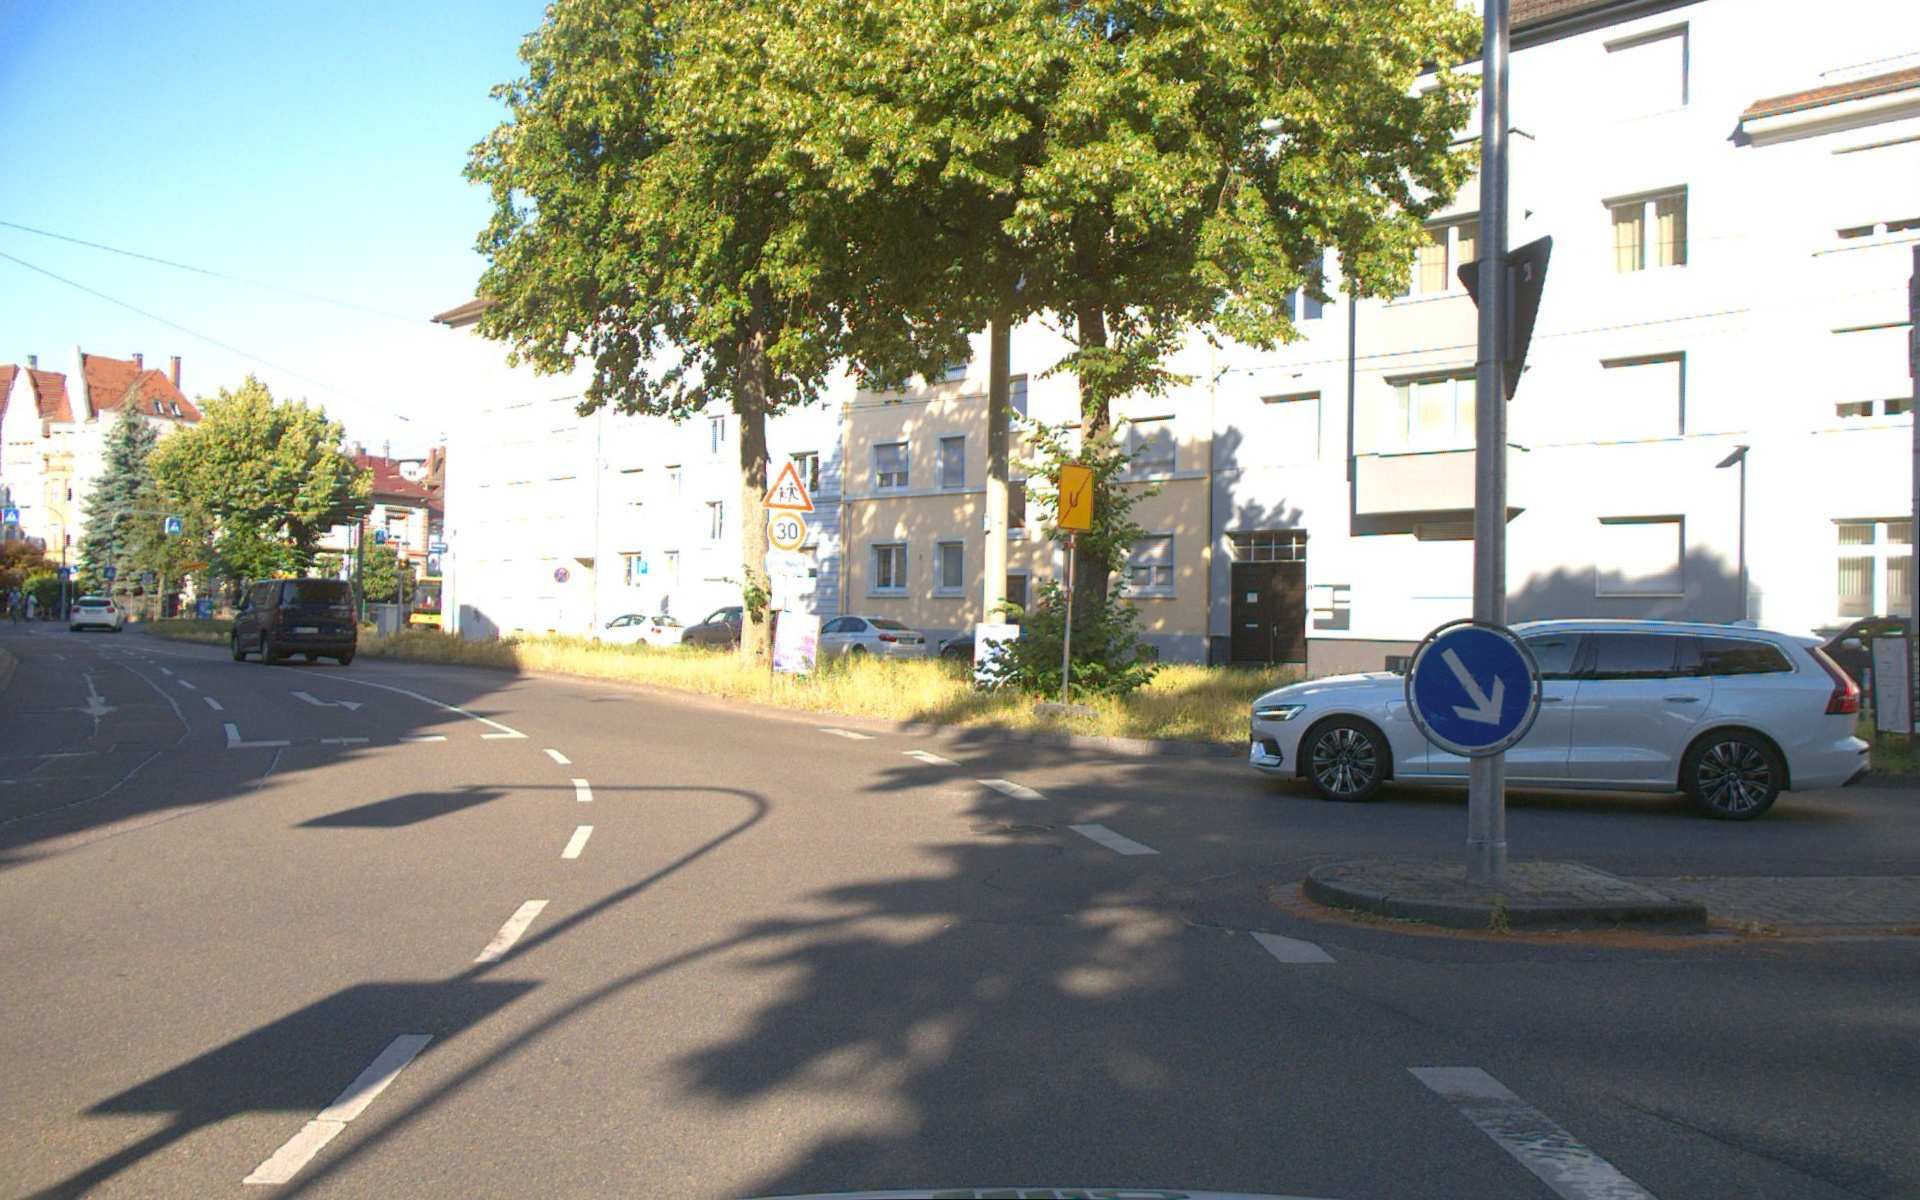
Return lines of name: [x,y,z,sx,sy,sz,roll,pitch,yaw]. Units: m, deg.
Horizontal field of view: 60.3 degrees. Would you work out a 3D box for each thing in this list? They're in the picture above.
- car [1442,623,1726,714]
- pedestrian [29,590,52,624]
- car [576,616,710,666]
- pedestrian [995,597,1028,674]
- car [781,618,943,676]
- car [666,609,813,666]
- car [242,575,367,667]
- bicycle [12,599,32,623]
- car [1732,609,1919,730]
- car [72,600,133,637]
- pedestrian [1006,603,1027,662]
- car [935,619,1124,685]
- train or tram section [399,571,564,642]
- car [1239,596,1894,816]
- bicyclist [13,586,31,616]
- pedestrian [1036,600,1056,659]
car: [11.153,1.166,29.765,1.985,1.411,4.373,1,0,-45]
pedestrian: [-47.960,0.382,86.262,0.861,1.687,0.897,5,-4,-33]
car: [-10.094,1.270,52.481,4.368,1.411,1.988,1,0,42]
pedestrian: [1.394,0.957,44.876,0.609,2.049,0.639,2,-2,-45]
car: [-2.696,1.236,44.628,1.985,1.411,4.373,1,0,-45]
car: [-6.531,1.084,48.725,1.985,1.600,4.565,1,-1,-45]
car: [-15.705,0.481,39.540,1.975,2.049,3.954,3,-1,-33]
bicycle: [-44.490,0.522,78.425,0.618,1.100,1.760,1,-1,-37]
car: [14.718,1.069,26.157,1.985,1.779,4.140,1,0,-45]
car: [-36.194,0.773,69.885,1.931,1.531,3.660,0,0,-22]
pedestrian: [1.471,0.841,43.229,0.435,1.541,0.331,0,-1,42]
car: [1.622,1.203,39.658,1.985,1.411,4.373,1,0,-45]
train or tram section: [-25.684,0.425,89.435,2.720,3.618,9.912,1,-1,25]
car: [4.725,0.764,13.433,4.656,1.489,1.856,1,0,16]
bicyclist: [-44.516,0.070,78.473,0.618,1.404,0.790,1,-1,-37]
pedestrian: [2.249,0.766,43.316,0.435,1.541,0.304,0,-1,38]
